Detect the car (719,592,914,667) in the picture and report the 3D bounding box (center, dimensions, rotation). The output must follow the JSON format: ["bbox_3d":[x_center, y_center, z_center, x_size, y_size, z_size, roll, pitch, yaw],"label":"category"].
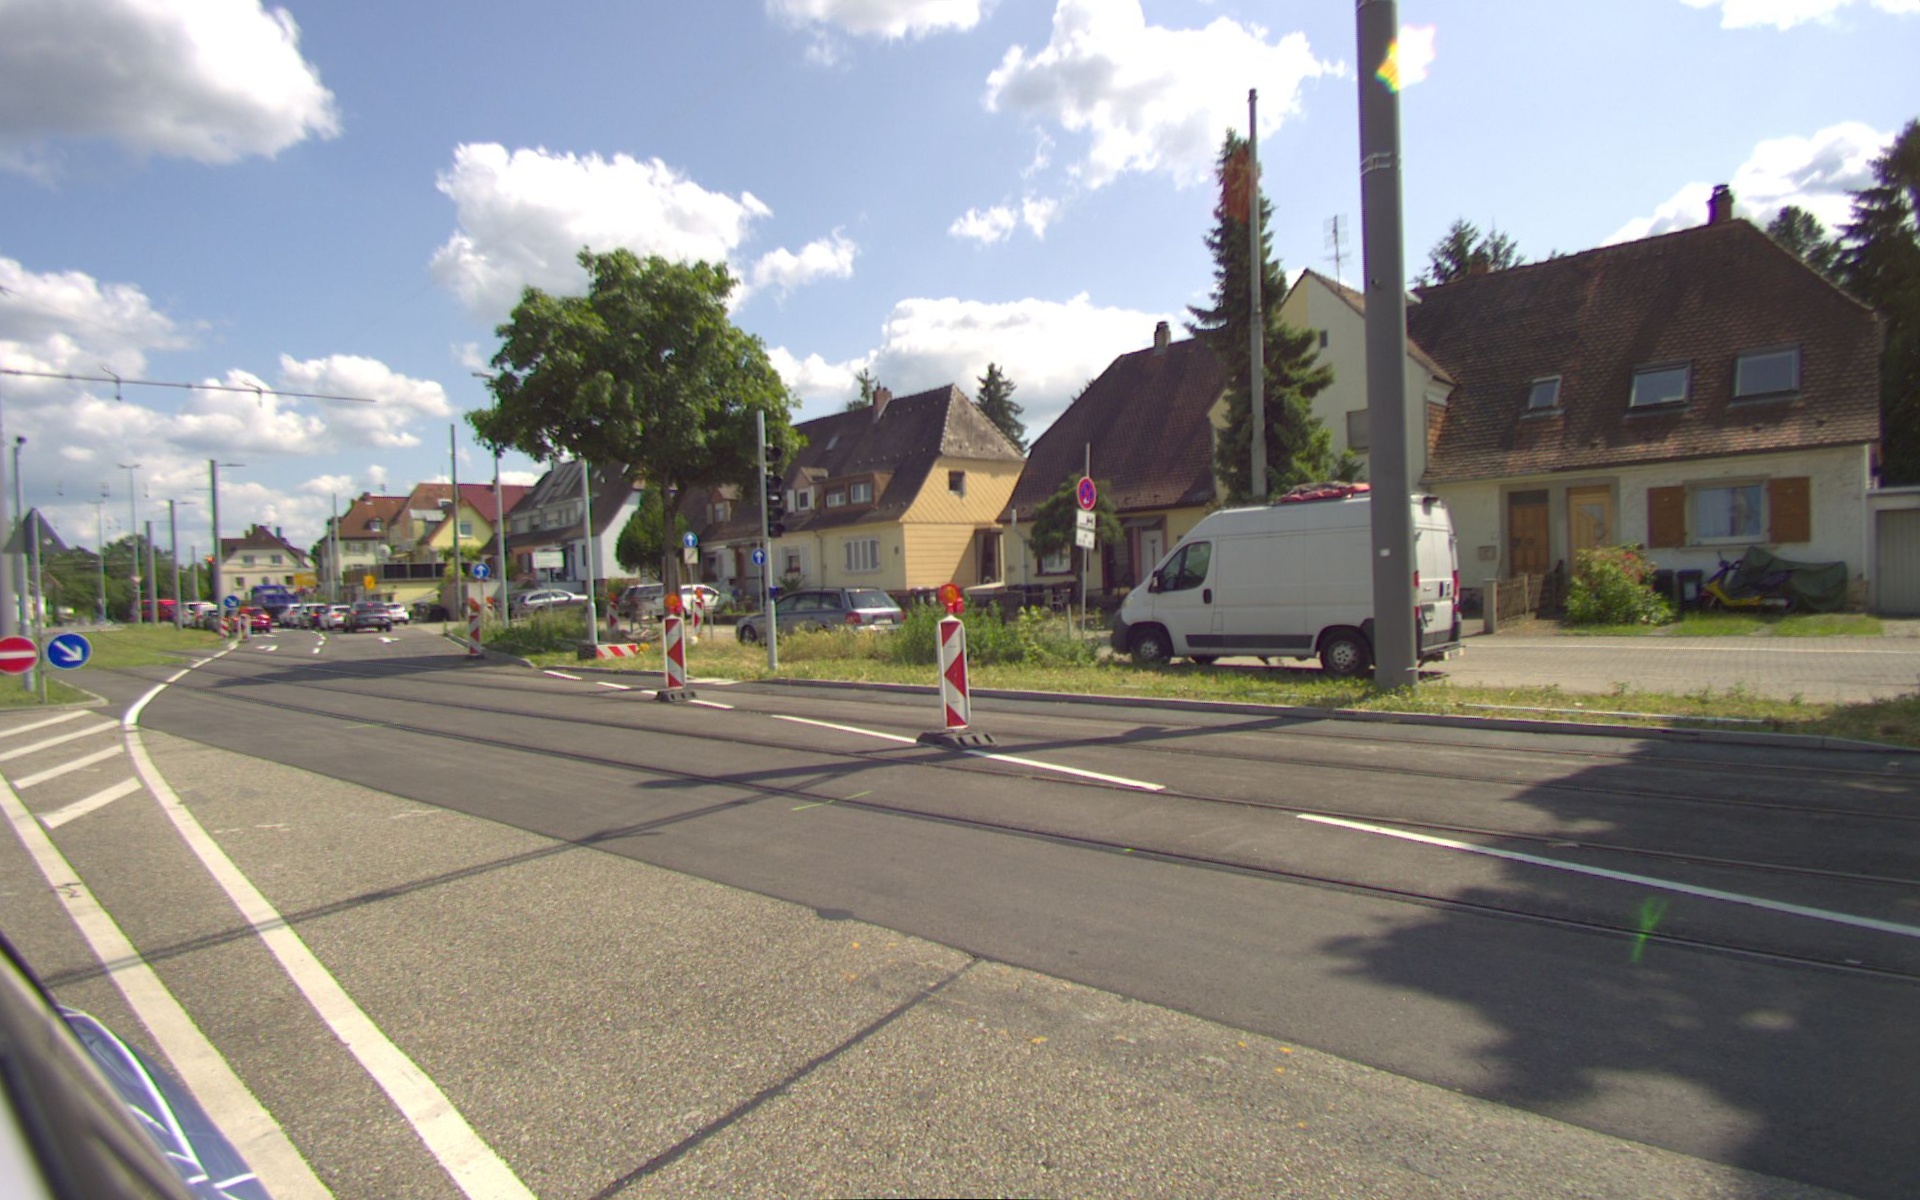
[{"bbox_3d":[-3.311,0.647,22.665,4.755,1.475,1.674,-2,1,43],"label":"car"}]

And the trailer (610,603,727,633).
[{"bbox_3d":[-13.362,0.804,46.644,1.961,1.133,4.867,-2,1,43],"label":"trailer"}]

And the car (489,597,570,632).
[{"bbox_3d":[-25.372,0.833,59.726,1.803,1.859,3.943,-2,1,44],"label":"car"}]

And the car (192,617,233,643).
[{"bbox_3d":[-50.430,2.004,68.239,1.705,1.574,4.546,-3,1,-43],"label":"car"}]

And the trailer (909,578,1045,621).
[{"bbox_3d":[0.713,-0.044,38.187,5.195,1.404,2.025,-3,1,-44],"label":"trailer"}]

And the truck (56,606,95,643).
[{"bbox_3d":[-132.881,3.661,152.201,3.423,5.222,14.245,-3,1,-38],"label":"truck"}]

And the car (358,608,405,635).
[{"bbox_3d":[-37.340,1.374,65.278,1.705,1.574,4.547,-3,1,-42],"label":"car"}]

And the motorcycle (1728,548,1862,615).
[{"bbox_3d":[16.942,-0.359,20.602,1.991,1.282,0.573,-2,1,28],"label":"motorcycle"}]

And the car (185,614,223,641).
[{"bbox_3d":[-54.734,1.980,73.229,1.705,1.868,4.546,-3,1,-43],"label":"car"}]

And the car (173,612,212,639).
[{"bbox_3d":[-59.892,1.970,78.959,1.895,1.979,4.546,-3,1,-43],"label":"car"}]

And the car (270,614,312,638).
[{"bbox_3d":[-48.023,1.851,72.630,1.705,1.574,4.546,-3,1,-43],"label":"car"}]

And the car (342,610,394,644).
[{"bbox_3d":[-30.329,1.357,51.793,1.703,1.538,4.780,-3,1,-37],"label":"car"}]

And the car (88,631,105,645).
[{"bbox_3d":[-142.216,6.247,166.715,2.029,2.023,4.958,-2,1,-39],"label":"car"}]

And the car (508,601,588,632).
[{"bbox_3d":[-23.414,0.906,57.555,1.682,1.566,3.835,-2,1,44],"label":"car"}]

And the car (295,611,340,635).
[{"bbox_3d":[-39.637,1.433,62.360,1.704,1.344,4.549,-3,1,-40],"label":"car"}]

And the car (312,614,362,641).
[{"bbox_3d":[-35.067,1.532,56.930,1.704,1.344,4.549,-3,1,-40],"label":"car"}]

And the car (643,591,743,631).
[{"bbox_3d":[-11.730,0.460,44.644,1.759,1.556,3.912,-2,1,39],"label":"car"}]

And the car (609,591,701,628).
[{"bbox_3d":[-14.694,0.440,48.819,3.837,1.556,1.708,-3,1,-42],"label":"car"}]

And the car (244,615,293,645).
[{"bbox_3d":[-39.908,1.710,58.355,1.705,1.574,4.547,-3,1,-42],"label":"car"}]

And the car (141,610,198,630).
[{"bbox_3d":[-83.605,2.124,107.031,4.940,1.886,2.275,-2,1,16],"label":"car"}]

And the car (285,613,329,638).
[{"bbox_3d":[-43.799,1.695,67.854,1.705,1.574,4.547,-3,1,-42],"label":"car"}]

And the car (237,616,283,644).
[{"bbox_3d":[-43.720,1.848,63.156,1.705,1.574,4.650,-3,1,-42],"label":"car"}]

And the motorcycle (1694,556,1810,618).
[{"bbox_3d":[15.942,-0.250,20.418,1.791,1.178,0.491,-2,1,39],"label":"motorcycle"}]

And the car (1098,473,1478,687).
[{"bbox_3d":[4.756,-0.236,15.136,4.913,2.688,2.131,-2,1,41],"label":"car"}]

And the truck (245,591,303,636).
[{"bbox_3d":[-53.460,1.053,78.771,2.800,3.177,7.946,-3,1,-40],"label":"truck"}]
